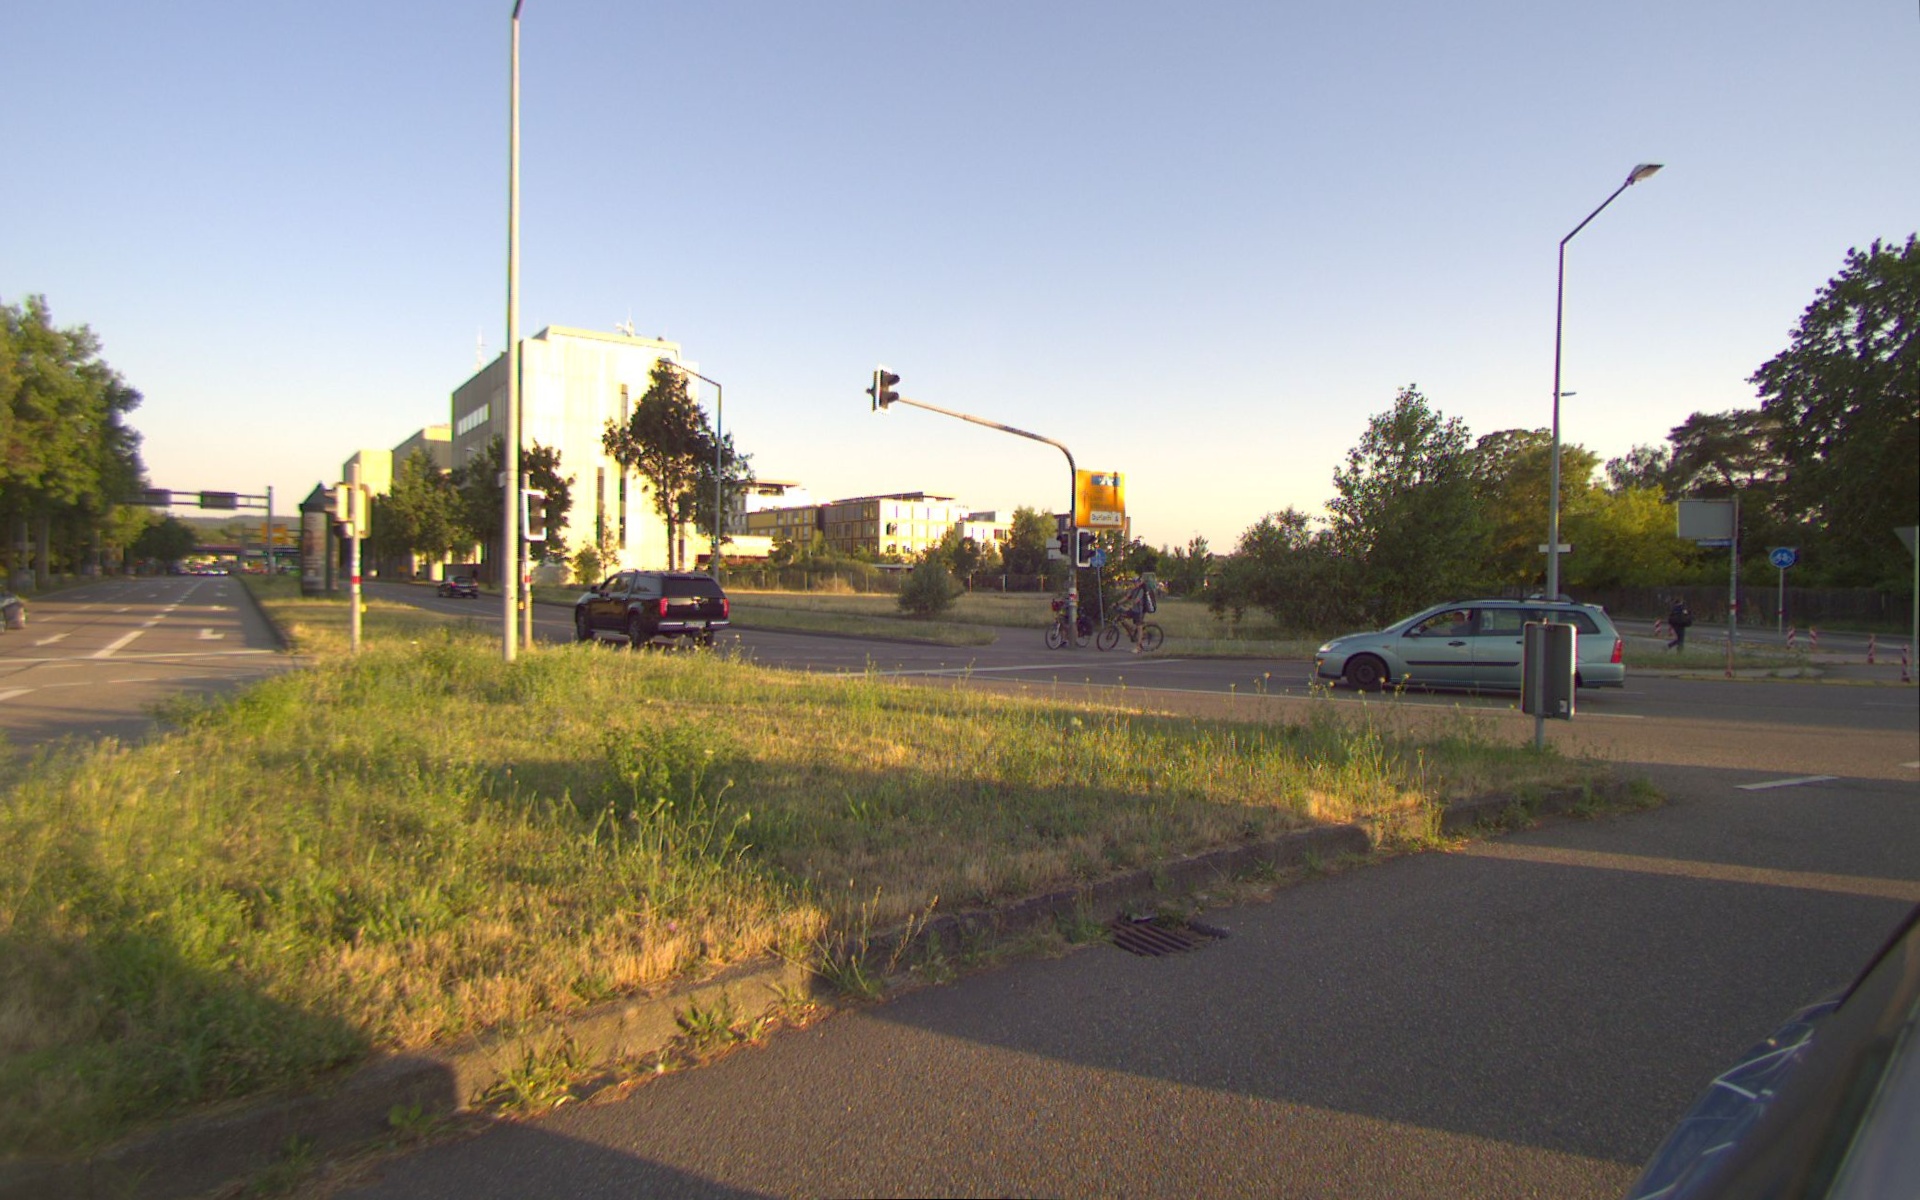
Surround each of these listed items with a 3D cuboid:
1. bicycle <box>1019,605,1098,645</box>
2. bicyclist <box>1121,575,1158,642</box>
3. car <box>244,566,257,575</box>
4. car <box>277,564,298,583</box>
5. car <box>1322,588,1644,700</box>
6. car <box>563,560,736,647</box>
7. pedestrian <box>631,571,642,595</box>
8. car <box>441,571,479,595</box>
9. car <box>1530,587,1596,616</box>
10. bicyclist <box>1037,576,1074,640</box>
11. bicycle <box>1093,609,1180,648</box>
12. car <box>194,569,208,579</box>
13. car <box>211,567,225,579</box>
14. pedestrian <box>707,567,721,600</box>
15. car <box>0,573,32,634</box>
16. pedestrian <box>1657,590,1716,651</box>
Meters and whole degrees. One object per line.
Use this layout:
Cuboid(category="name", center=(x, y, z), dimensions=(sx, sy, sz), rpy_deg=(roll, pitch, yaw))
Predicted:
Cuboid(category="bicycle", center=(2.665, 0.656, 27.390), dimensions=(2.065, 0.975, 0.711), rpy_deg=(-2, 2, -27))
Cuboid(category="bicyclist", center=(4.664, 0.206, 26.305), dimensions=(0.674, 1.711, 0.727), rpy_deg=(1, 1, -13))
Cuboid(category="car", center=(-143.473, -5.928, 204.505), dimensions=(1.964, 1.649, 3.997), rpy_deg=(0, 1, -38))
Cuboid(category="car", center=(-76.848, -3.022, 115.719), dimensions=(1.961, 2.039, 4.002), rpy_deg=(0, 1, -34))
Cuboid(category="car", center=(8.085, 0.594, 16.048), dimensions=(4.267, 1.510, 1.983), rpy_deg=(1, 1, 25))
Cuboid(category="car", center=(-7.567, 0.000, 24.294), dimensions=(1.965, 1.835, 5.298), rpy_deg=(1, 1, -41))
Cuboid(category="pedestrian", center=(-20.835, -1.079, 65.148), dimensions=(0.492, 1.531, 0.530), rpy_deg=(0, 1, -35))
Cuboid(category="car", center=(-31.583, -1.075, 63.837), dimensions=(1.717, 1.396, 4.129), rpy_deg=(0, 2, -33))
Cuboid(category="car", center=(32.704, 0.058, 54.996), dimensions=(1.970, 1.504, 3.984), rpy_deg=(1, 1, 14))
Cuboid(category="bicyclist", center=(2.579, 0.205, 27.372), dimensions=(0.675, 1.711, 0.726), rpy_deg=(0, 1, -29))
Cuboid(category="bicycle", center=(4.591, 0.728, 26.284), dimensions=(2.100, 0.975, 0.711), rpy_deg=(1, 1, -15))
Cuboid(category="car", center=(-138.685, -4.692, 184.879), dimensions=(1.964, 1.803, 3.995), rpy_deg=(-1, 0, -39))
Cuboid(category="car", center=(-130.601, -4.671, 178.099), dimensions=(1.963, 2.039, 3.998), rpy_deg=(0, 0, -36))
Cuboid(category="pedestrian", center=(-12.805, -0.837, 52.752), dimensions=(0.555, 1.705, 0.520), rpy_deg=(0, 1, -35))
Cuboid(category="car", center=(-26.157, 0.051, 26.623), dimensions=(1.962, 1.524, 4.772), rpy_deg=(0, 1, -35))
Cuboid(category="pedestrian", center=(19.784, 0.543, 27.586), dimensions=(0.977, 1.610, 0.923), rpy_deg=(1, 1, 13))
